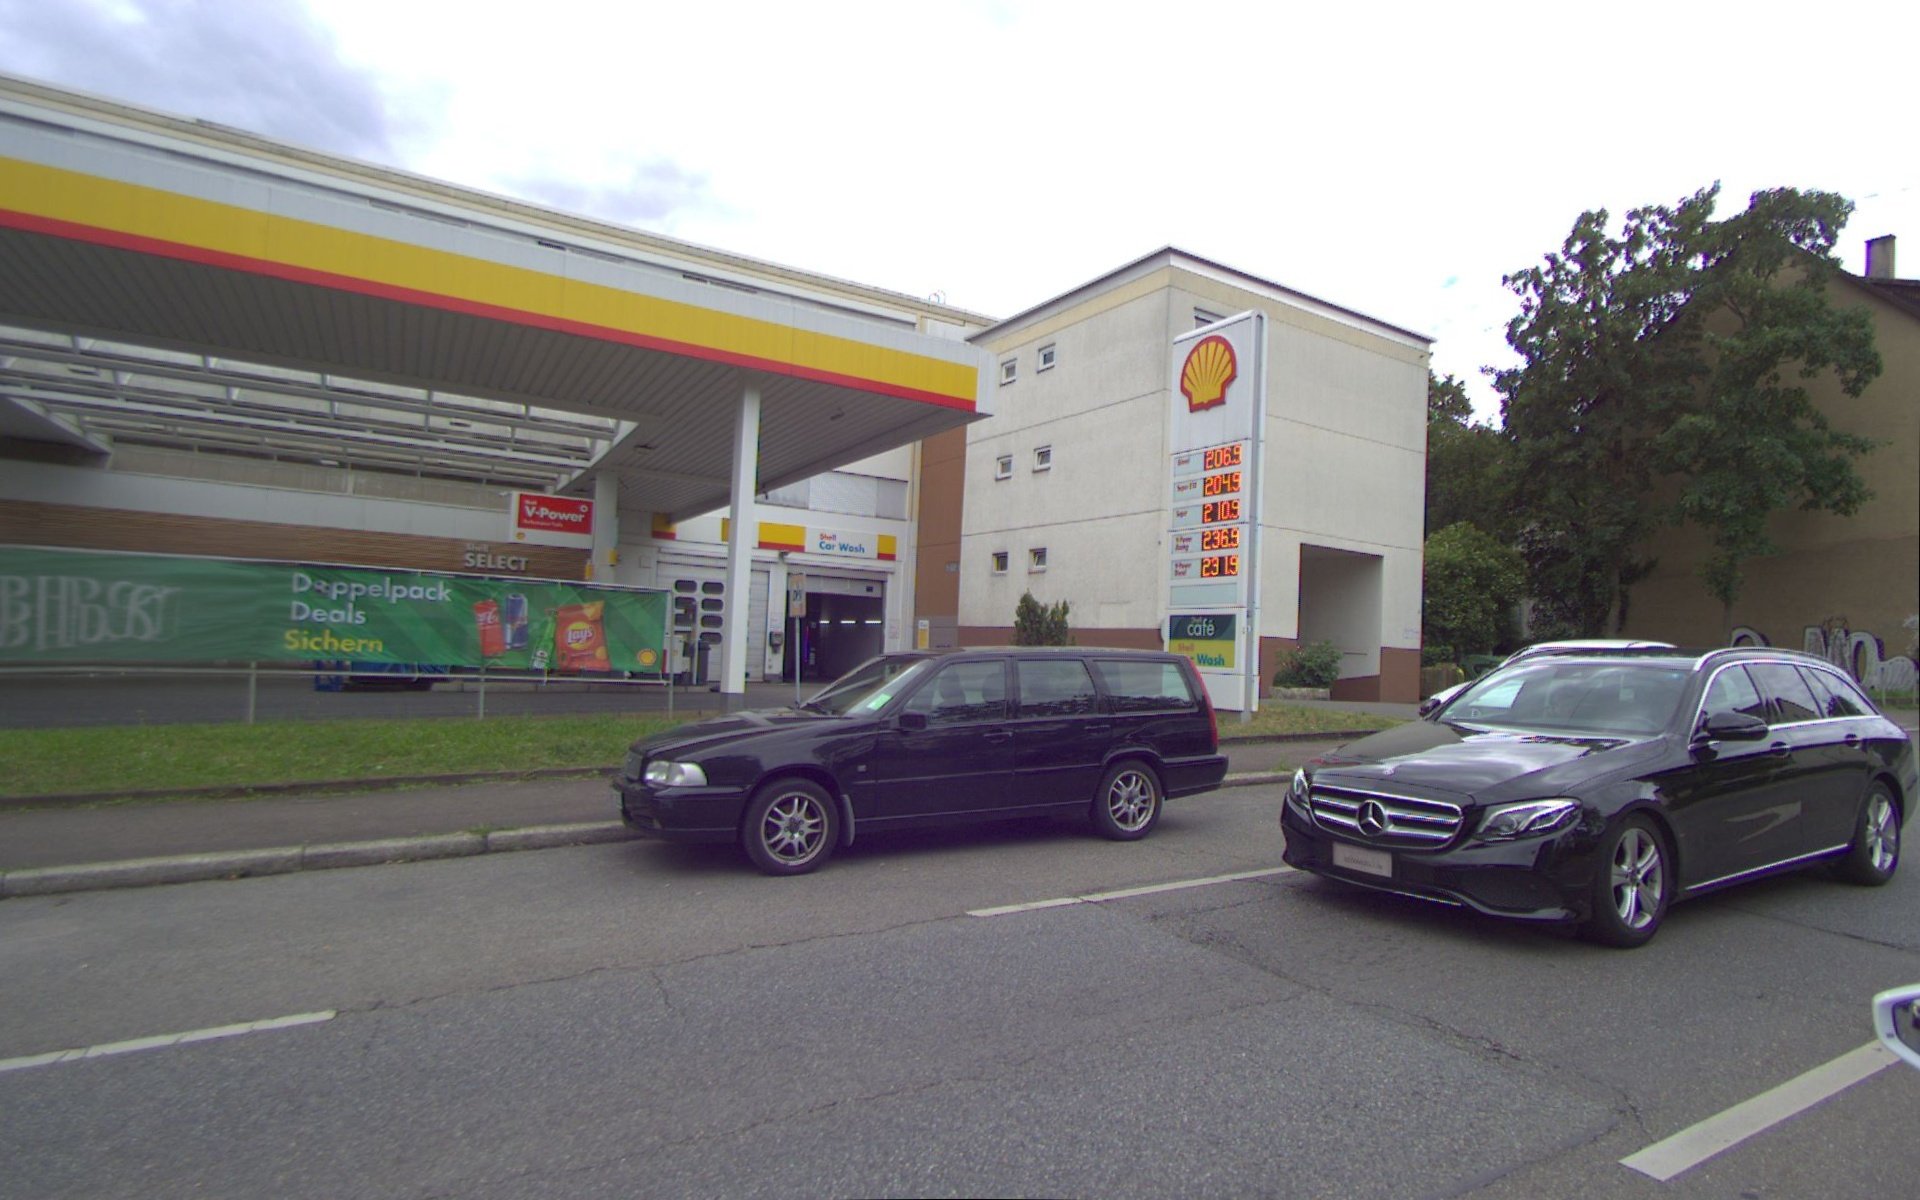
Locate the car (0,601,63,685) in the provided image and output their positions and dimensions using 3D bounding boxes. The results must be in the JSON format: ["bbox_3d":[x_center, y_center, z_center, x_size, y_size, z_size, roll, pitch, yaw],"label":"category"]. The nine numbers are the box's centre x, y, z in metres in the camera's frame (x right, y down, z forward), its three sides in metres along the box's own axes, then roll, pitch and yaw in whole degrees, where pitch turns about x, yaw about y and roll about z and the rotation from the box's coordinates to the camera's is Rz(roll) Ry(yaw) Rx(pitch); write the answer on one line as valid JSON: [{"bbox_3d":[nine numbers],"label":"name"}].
[{"bbox_3d":[-18.116,0.701,17.315,3.594,1.439,1.789,2,-1,-30],"label":"car"}]

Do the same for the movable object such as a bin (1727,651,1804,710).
[{"bbox_3d":[21.332,2.113,26.606,1.266,1.447,1.273,2,-1,-34],"label":"movable object such as a bin"}]

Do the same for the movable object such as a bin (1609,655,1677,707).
[{"bbox_3d":[19.984,2.352,29.414,0.903,1.447,1.385,2,-1,-32],"label":"movable object such as a bin"}]

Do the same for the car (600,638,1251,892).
[{"bbox_3d":[-0.151,1.057,7.682,4.684,1.450,1.791,2,-3,-28],"label":"car"}]

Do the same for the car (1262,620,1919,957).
[{"bbox_3d":[4.157,0.940,6.343,4.446,1.485,1.770,2,-3,-30],"label":"car"}]

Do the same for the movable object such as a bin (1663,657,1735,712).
[{"bbox_3d":[20.724,2.356,28.187,0.903,1.447,1.385,2,-1,-32],"label":"movable object such as a bin"}]

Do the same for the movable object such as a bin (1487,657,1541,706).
[{"bbox_3d":[17.130,2.507,31.036,1.382,1.447,0.905,2,-1,-32],"label":"movable object such as a bin"}]

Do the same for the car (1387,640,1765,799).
[{"bbox_3d":[7.496,1.320,12.132,4.644,1.598,1.907,2,-3,-30],"label":"car"}]

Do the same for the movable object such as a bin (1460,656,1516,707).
[{"bbox_3d":[15.916,2.446,30.277,1.382,1.447,0.905,2,-1,-32],"label":"movable object such as a bin"}]
